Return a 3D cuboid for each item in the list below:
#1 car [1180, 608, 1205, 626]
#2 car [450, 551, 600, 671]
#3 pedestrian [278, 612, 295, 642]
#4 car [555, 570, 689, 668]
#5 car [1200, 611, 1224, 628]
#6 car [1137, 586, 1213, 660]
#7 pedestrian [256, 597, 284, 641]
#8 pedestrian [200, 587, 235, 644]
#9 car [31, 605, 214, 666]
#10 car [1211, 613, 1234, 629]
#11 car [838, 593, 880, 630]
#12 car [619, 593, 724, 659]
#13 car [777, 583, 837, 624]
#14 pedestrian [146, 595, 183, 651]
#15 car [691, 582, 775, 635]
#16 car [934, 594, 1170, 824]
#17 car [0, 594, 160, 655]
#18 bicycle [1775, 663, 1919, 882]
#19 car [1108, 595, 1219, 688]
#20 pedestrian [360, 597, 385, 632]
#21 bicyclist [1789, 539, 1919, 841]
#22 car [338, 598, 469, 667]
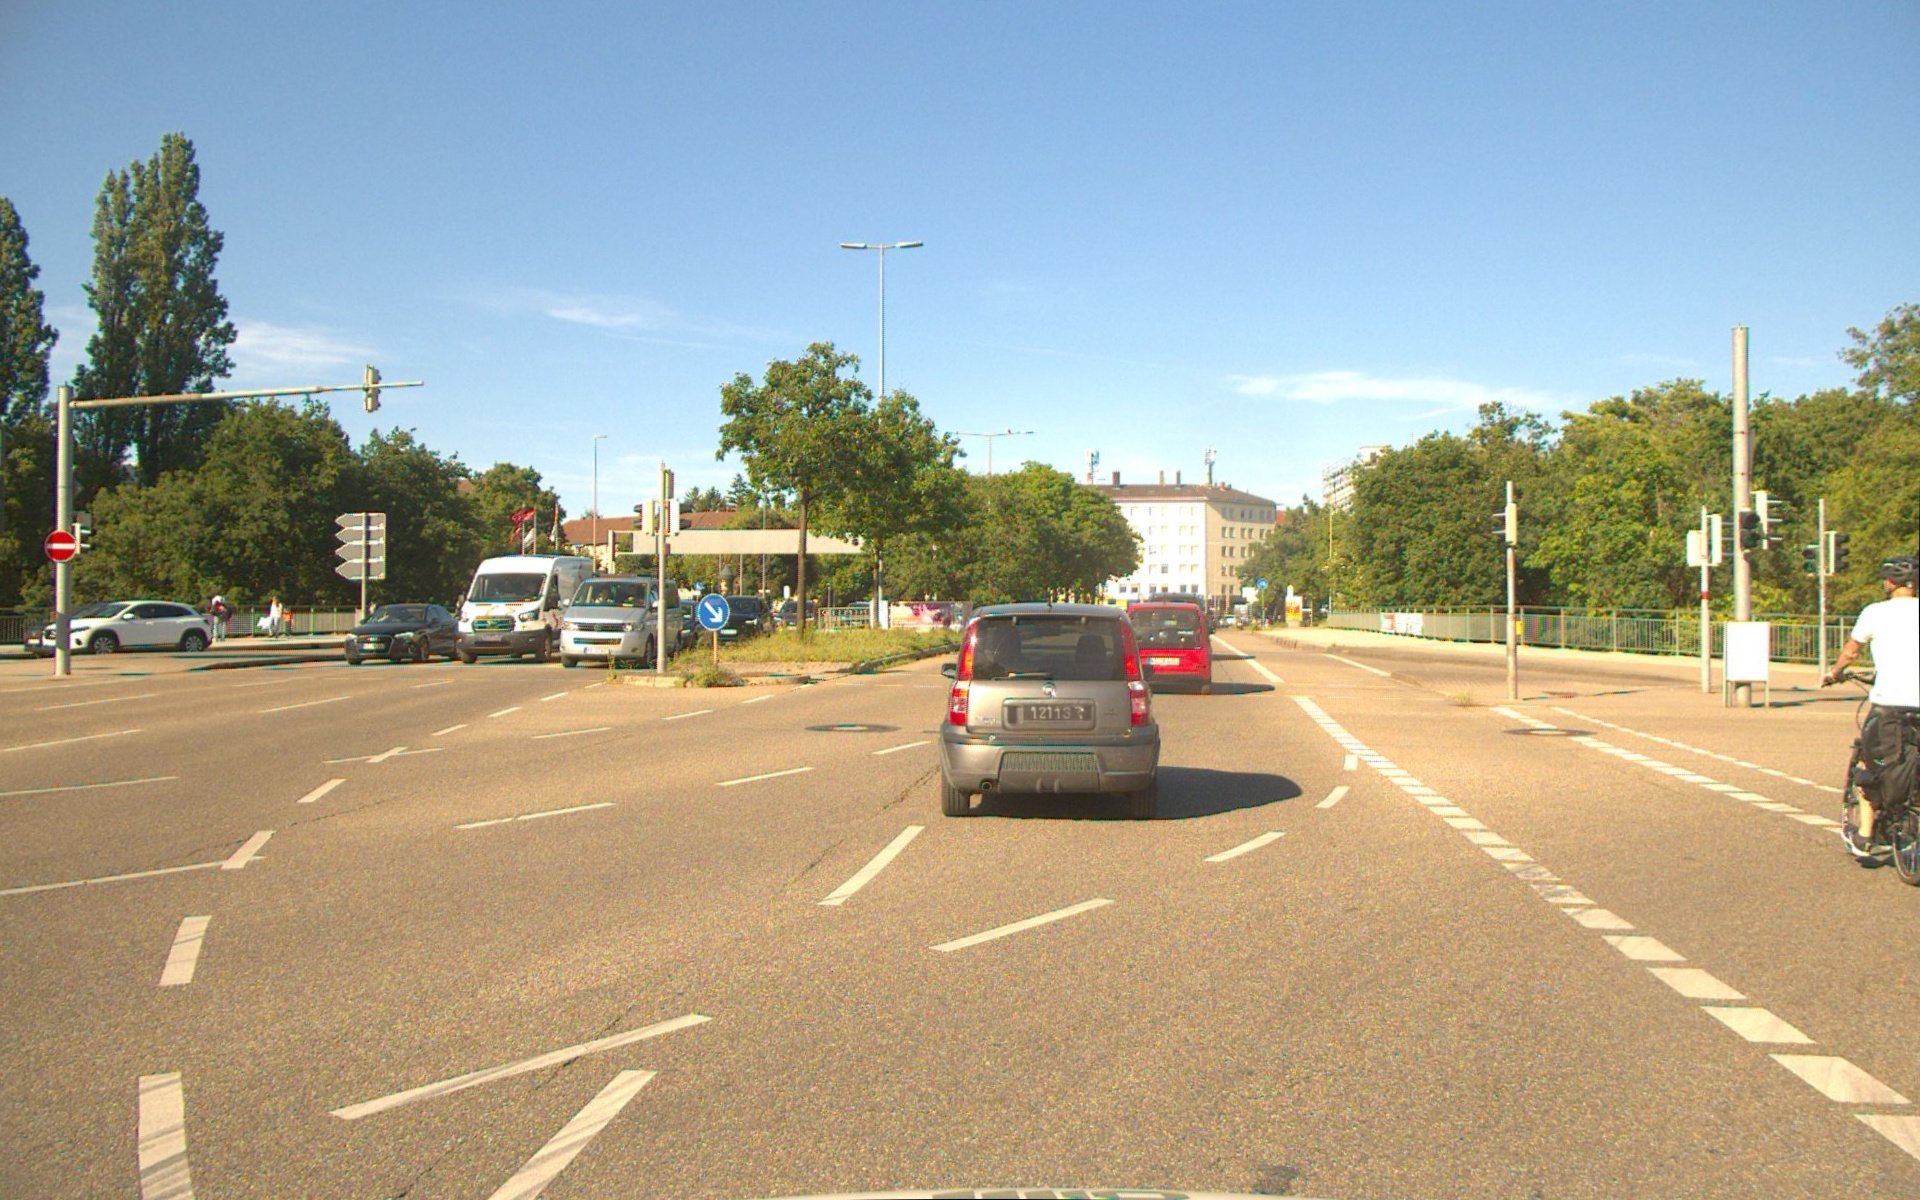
[{"bbox_3d":[24.994,1.846,177.958,1.827,1.710,3.908,0,-2,21],"label":"car"},{"bbox_3d":[-10.255,0.247,39.547,1.897,2.621,6.089,0,0,1],"label":"car"},{"bbox_3d":[-25.889,1.042,63.610,0.414,1.156,0.398,1,-2,5],"label":"pedestrian"},{"bbox_3d":[-7.402,0.396,36.718,1.897,2.043,4.931,0,0,1],"label":"car"},{"bbox_3d":[28.542,2.228,187.270,1.827,1.710,3.908,1,-2,20],"label":"car"},{"bbox_3d":[5.825,0.636,44.982,1.904,1.872,4.155,2,-1,7],"label":"car"},{"bbox_3d":[-26.552,0.733,63.642,0.705,1.670,0.673,1,-2,5],"label":"pedestrian"},{"bbox_3d":[-26.880,0.581,59.912,0.789,2.032,0.788,1,-2,5],"label":"pedestrian"},{"bbox_3d":[-23.196,0.954,45.976,1.745,1.562,4.321,1,0,29],"label":"car"},{"bbox_3d":[30.928,2.457,195.041,1.827,1.710,3.907,0,-2,22],"label":"car"},{"bbox_3d":[-5.738,0.669,94.487,1.952,2.049,4.335,-1,0,3],"label":"car"},{"bbox_3d":[-7.502,0.655,43.445,1.897,1.651,4.506,0,0,1],"label":"car"},{"bbox_3d":[-6.315,0.132,68.578,1.896,1.651,4.507,0,0,2],"label":"car"},{"bbox_3d":[-28.288,0.820,58.797,0.819,1.951,0.788,1,-2,5],"label":"pedestrian"},{"bbox_3d":[-7.238,0.263,53.120,1.896,1.651,4.507,0,0,2],"label":"car"},{"bbox_3d":[0.695,0.738,13.129,1.584,1.542,3.821,0,0,2],"label":"car"},{"bbox_3d":[-25.929,0.734,48.541,1.860,1.654,3.989,0,-3,32],"label":"car"},{"bbox_3d":[5.494,0.973,9.828,0.676,1.121,1.828,1,0,10],"label":"bicycle"},{"bbox_3d":[3.452,0.662,28.572,1.584,1.488,3.752,0,0,2],"label":"car"},{"bbox_3d":[-26.400,0.667,74.349,0.656,1.529,0.779,0,-3,20],"label":"pedestrian"},{"bbox_3d":[5.509,0.512,9.852,0.708,1.688,1.114,1,0,10],"label":"bicyclist"},{"bbox_3d":[-13.314,0.742,39.813,1.898,1.534,3.998,-1,0,-2],"label":"car"}]
